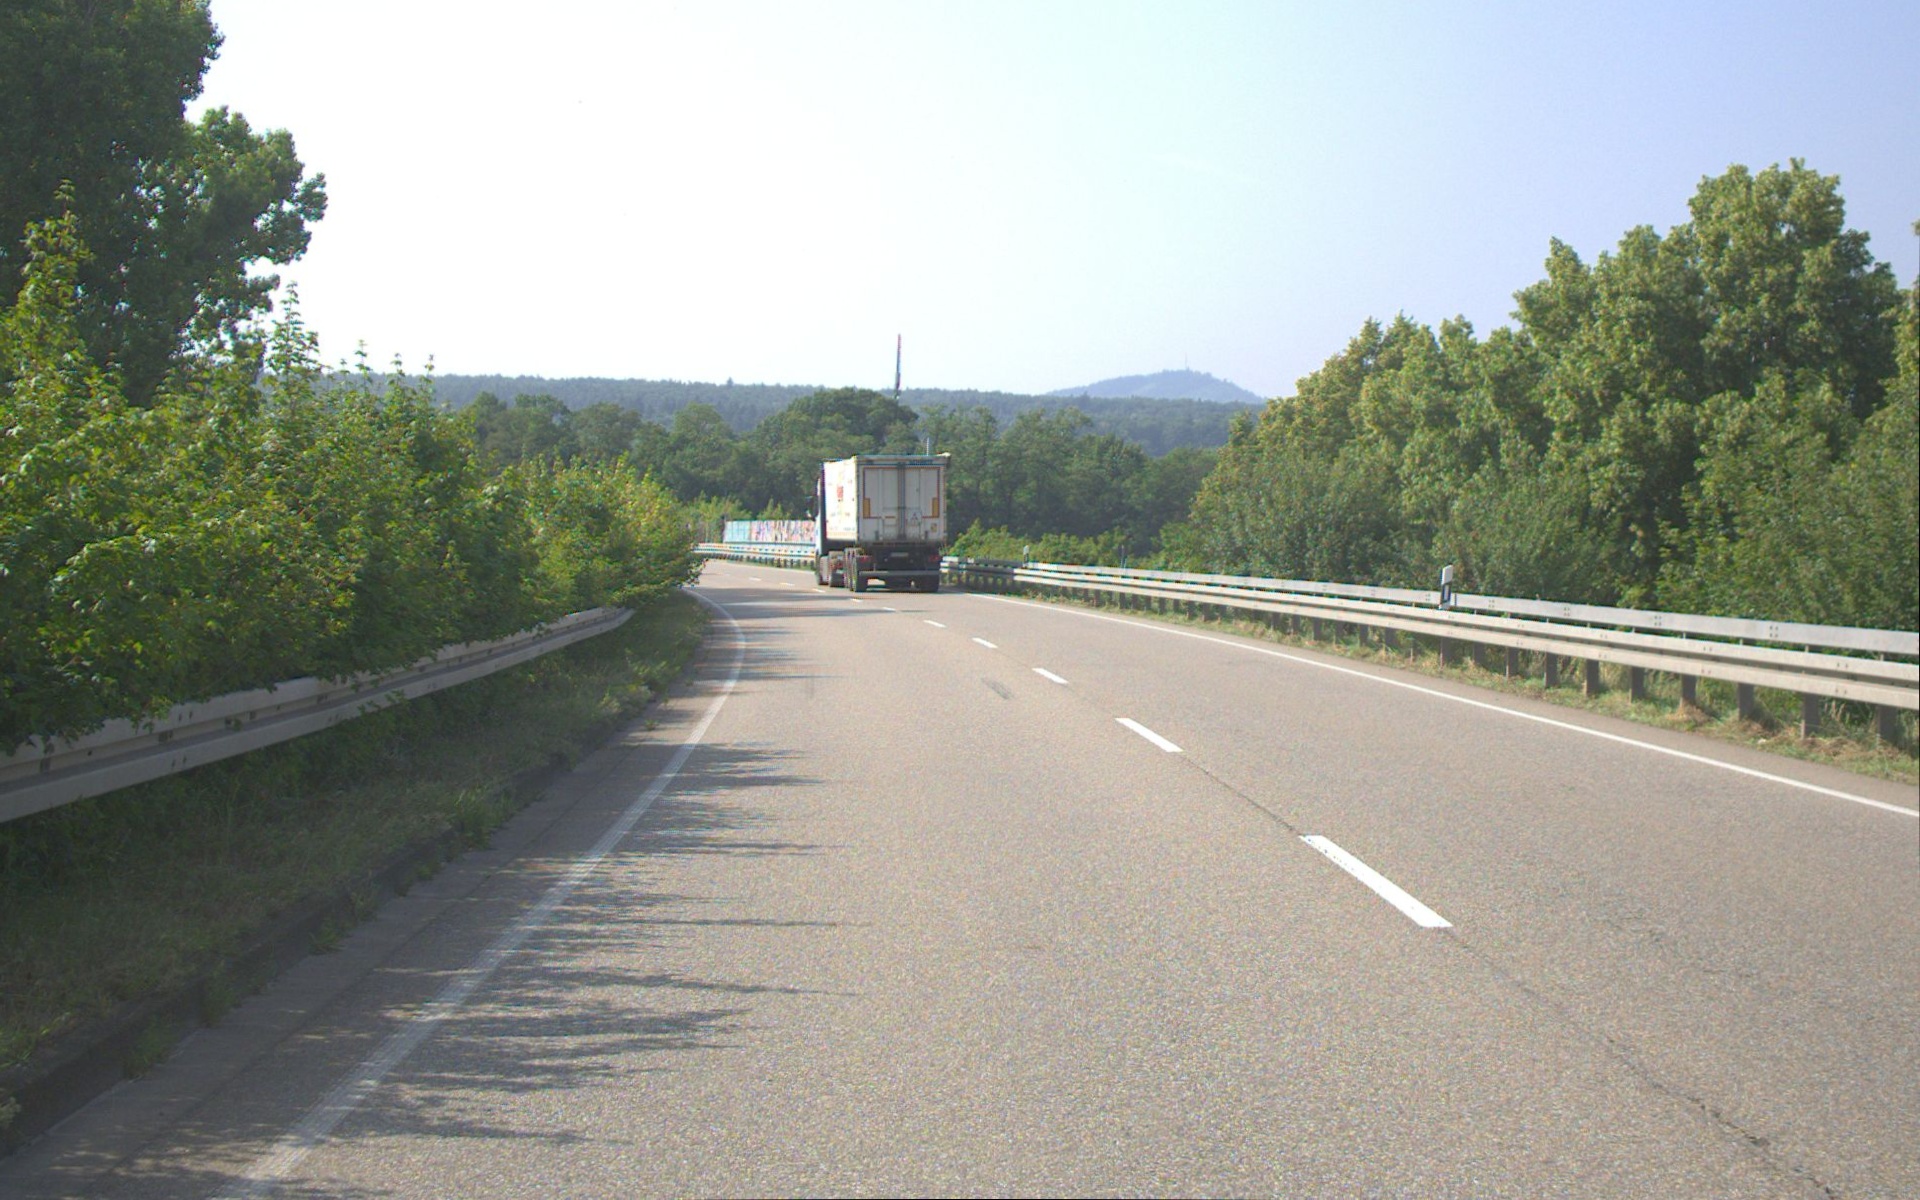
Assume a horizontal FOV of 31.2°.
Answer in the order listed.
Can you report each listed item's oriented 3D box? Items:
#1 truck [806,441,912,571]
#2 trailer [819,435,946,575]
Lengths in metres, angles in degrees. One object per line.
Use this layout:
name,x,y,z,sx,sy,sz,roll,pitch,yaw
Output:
truck,-3.167,-2.902,106.503,2.658,3.882,5.649,0,1,-8
trailer,-2.348,-2.744,100.453,2.679,3.893,9.675,0,1,-7
